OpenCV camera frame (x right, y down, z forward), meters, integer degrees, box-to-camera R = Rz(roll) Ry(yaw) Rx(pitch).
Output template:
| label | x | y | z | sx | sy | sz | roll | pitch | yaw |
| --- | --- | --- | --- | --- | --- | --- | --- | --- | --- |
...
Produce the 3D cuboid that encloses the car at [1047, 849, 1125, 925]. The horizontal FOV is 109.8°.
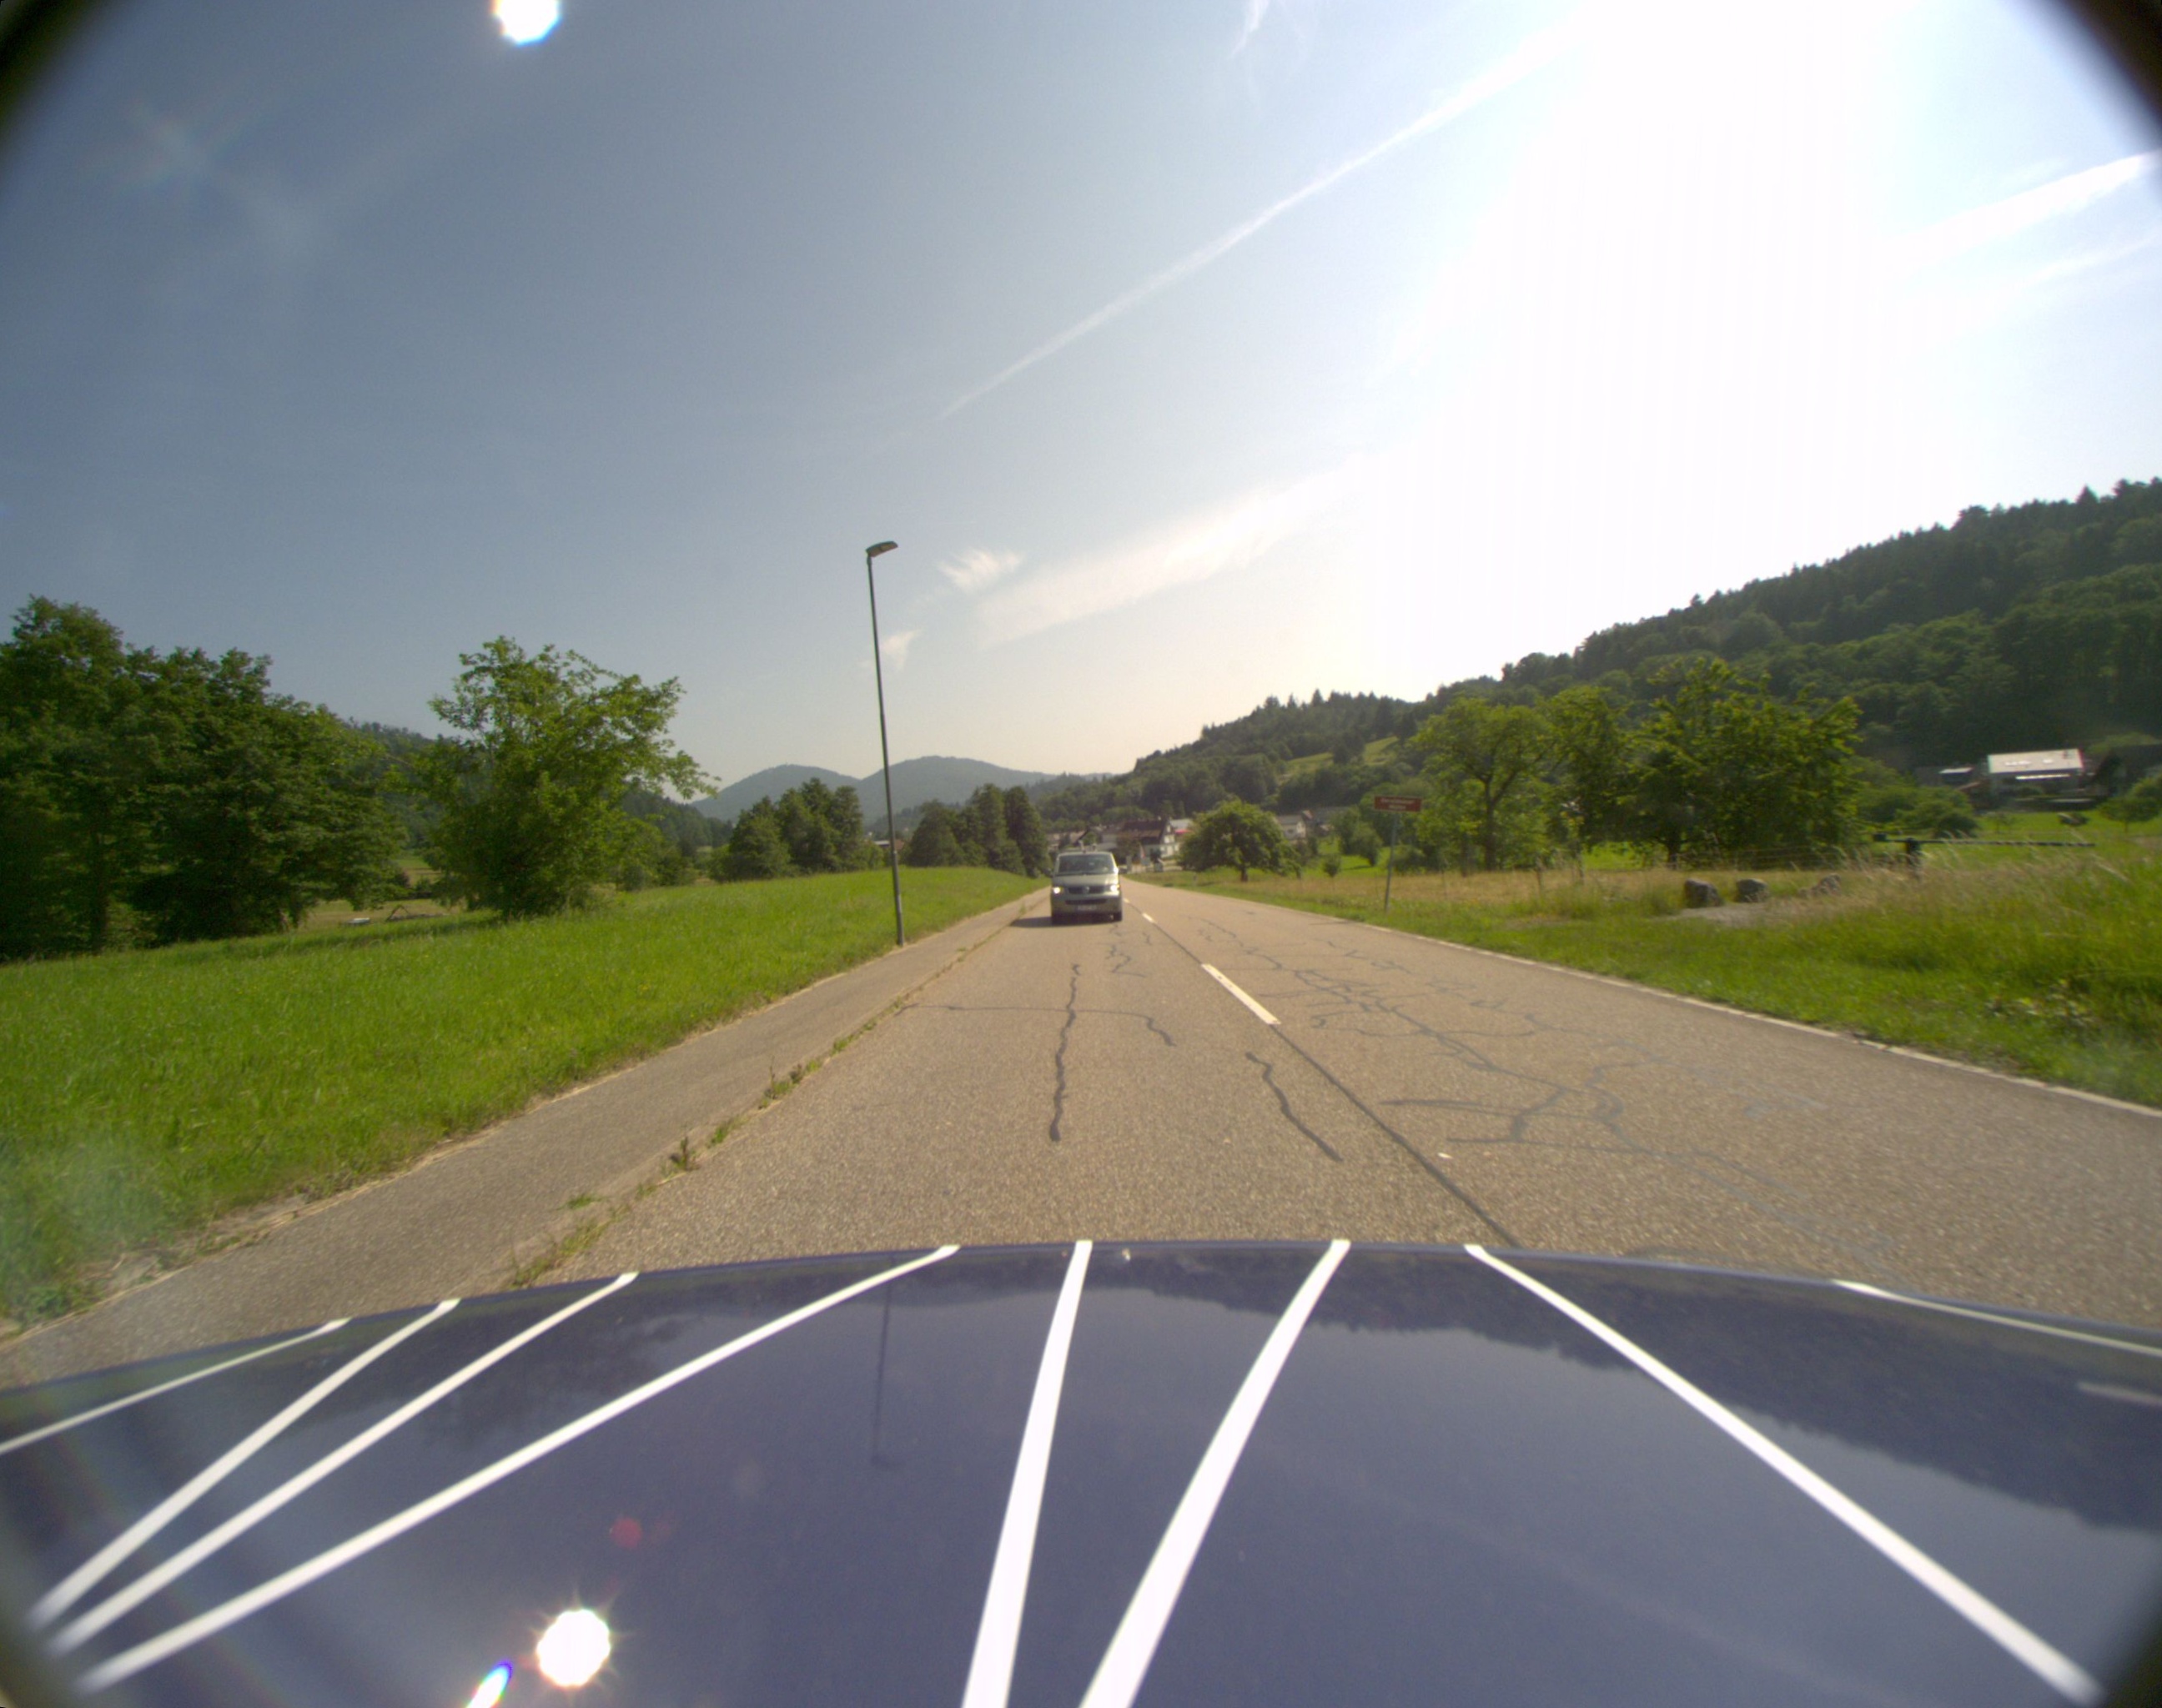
| label | x | y | z | sx | sy | sz | roll | pitch | yaw |
| --- | --- | --- | --- | --- | --- | --- | --- | --- | --- |
| car | 0.275 | 0.939 | 23.142 | 2.023 | 1.970 | 5.051 | -3 | -1 | 3 |
